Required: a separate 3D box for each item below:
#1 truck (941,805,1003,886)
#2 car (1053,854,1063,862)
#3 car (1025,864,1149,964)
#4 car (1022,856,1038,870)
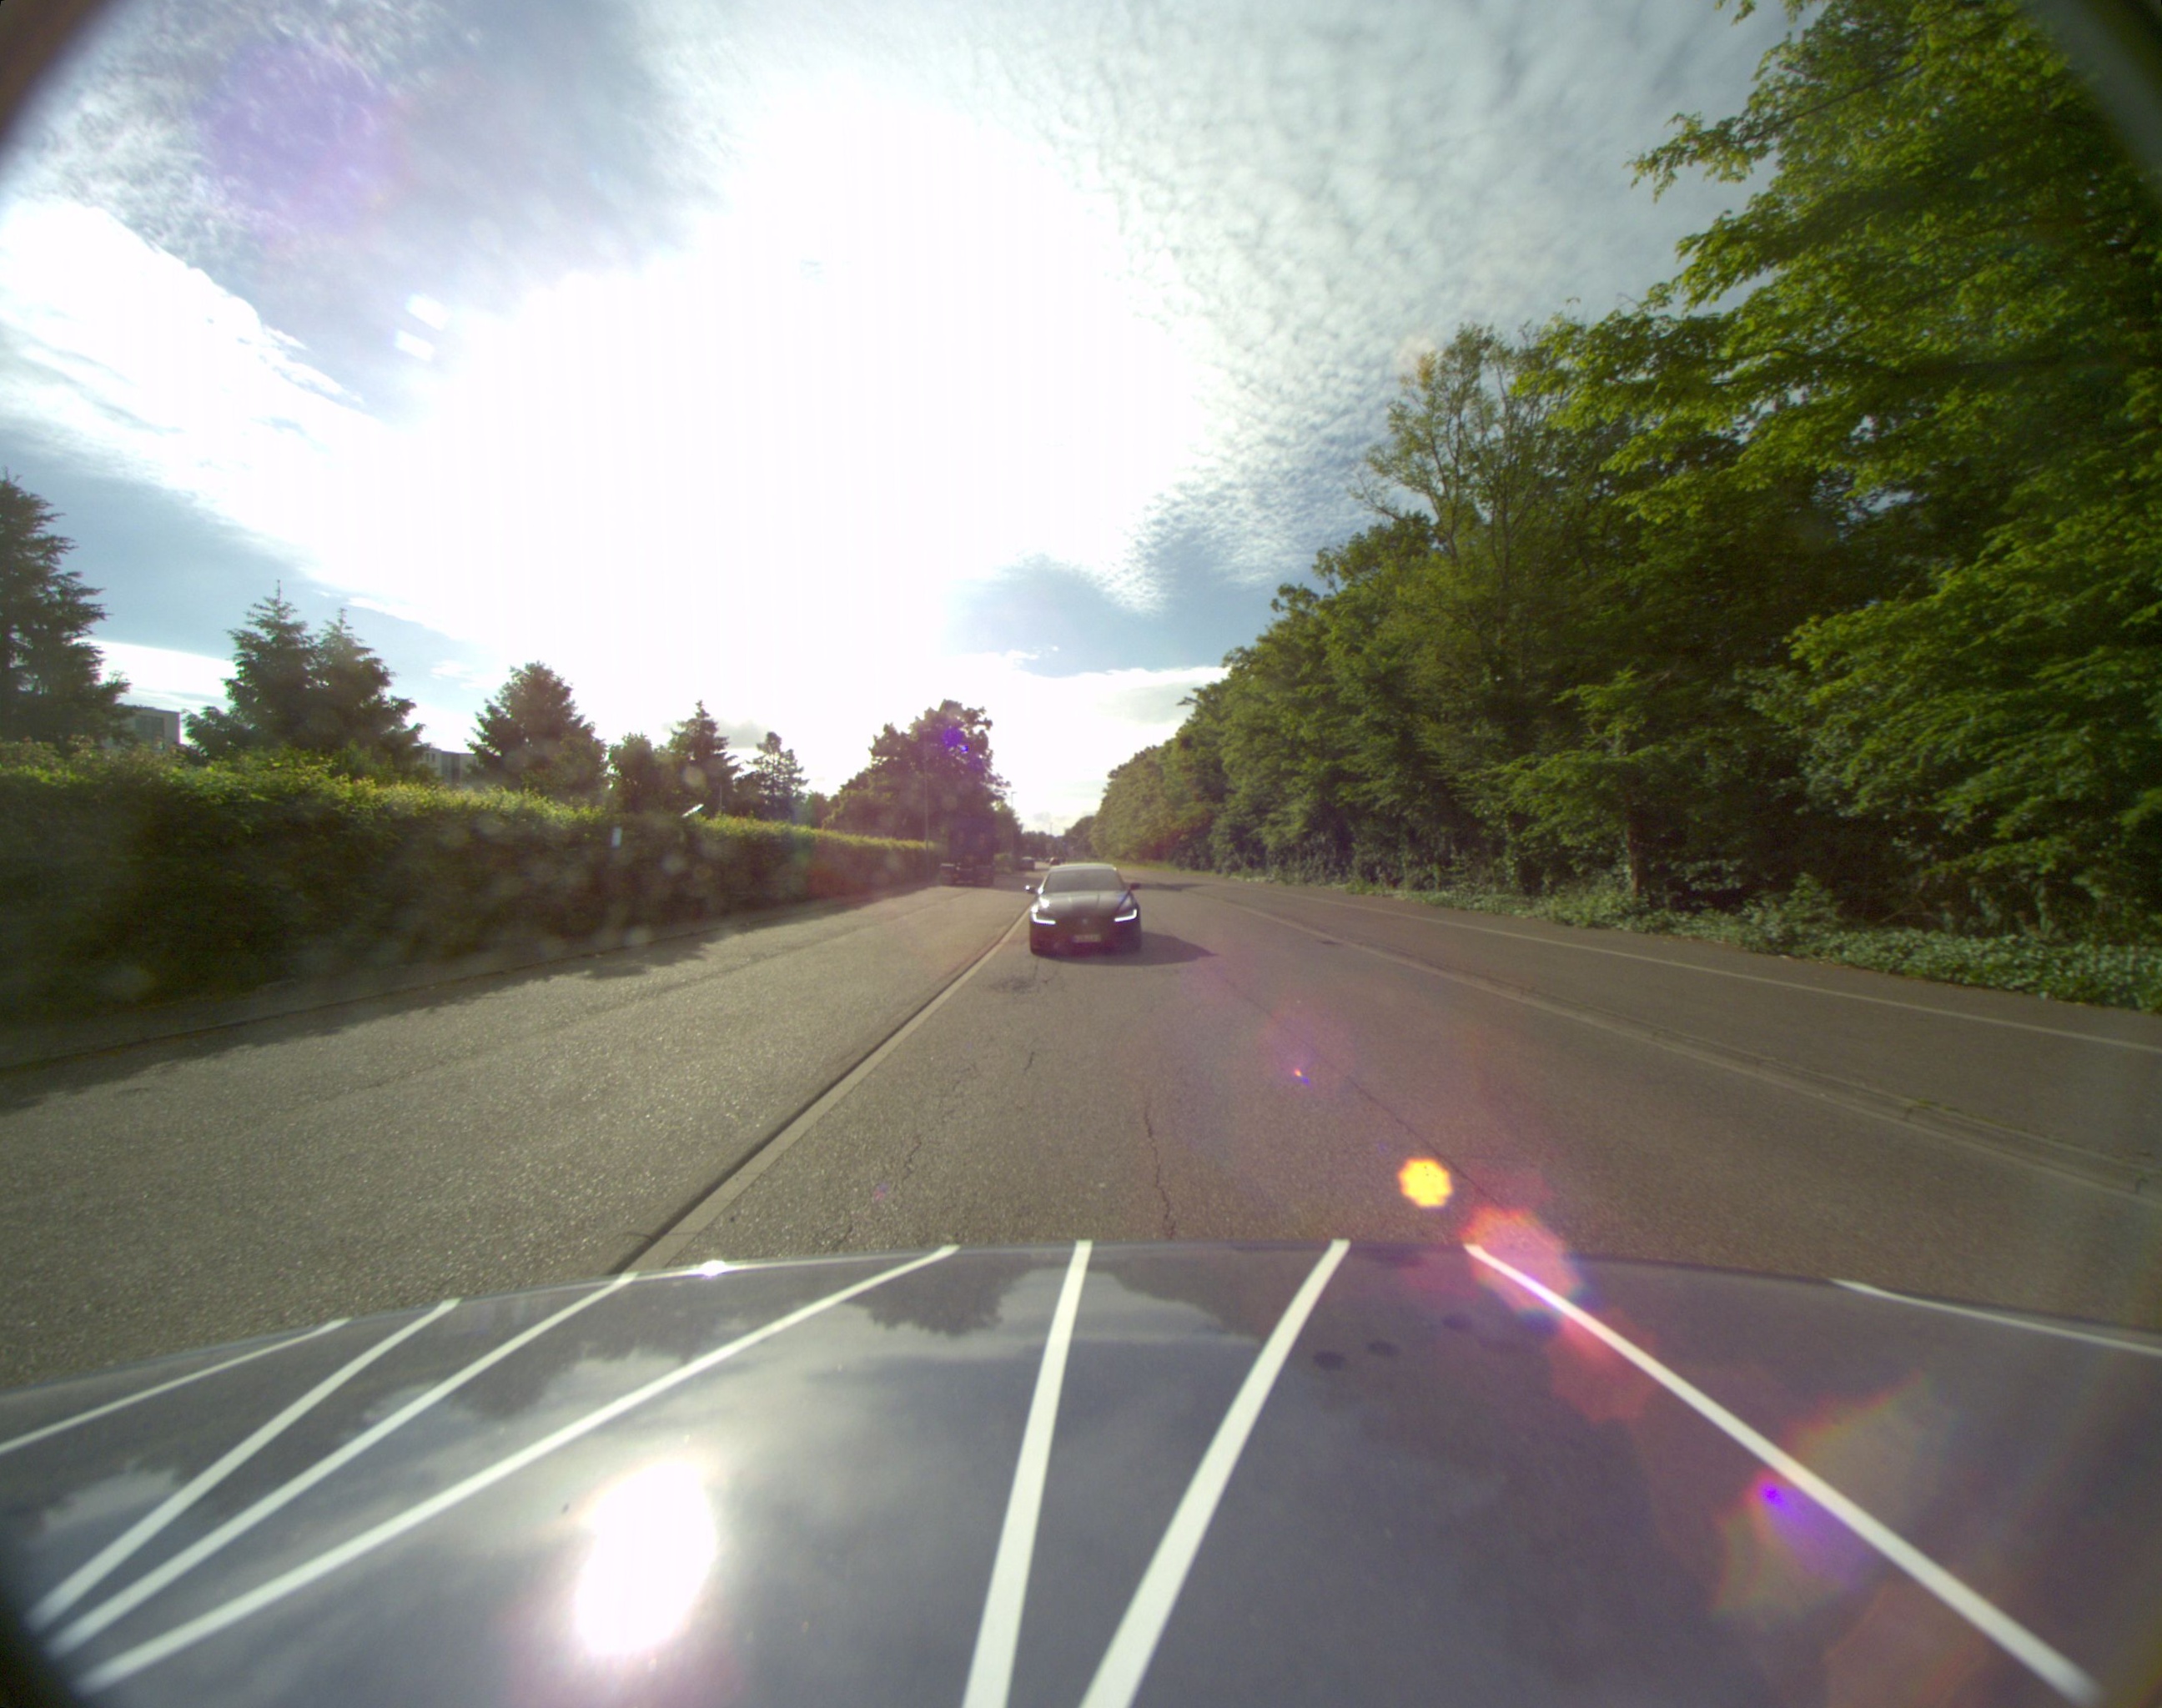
[{"bbox_3d":[-5.858,-0.405,41.834,2.603,3.935,6.282,4,-1,-3],"label":"truck"},{"bbox_3d":[-4.221,0.703,140.773,1.751,1.379,3.861,3,0,-3],"label":"car"},{"bbox_3d":[0.150,0.972,14.196,1.936,1.500,4.680,0,0,1],"label":"car"},{"bbox_3d":[-5.891,1.008,87.871,1.751,1.561,3.861,3,0,-3],"label":"car"}]
